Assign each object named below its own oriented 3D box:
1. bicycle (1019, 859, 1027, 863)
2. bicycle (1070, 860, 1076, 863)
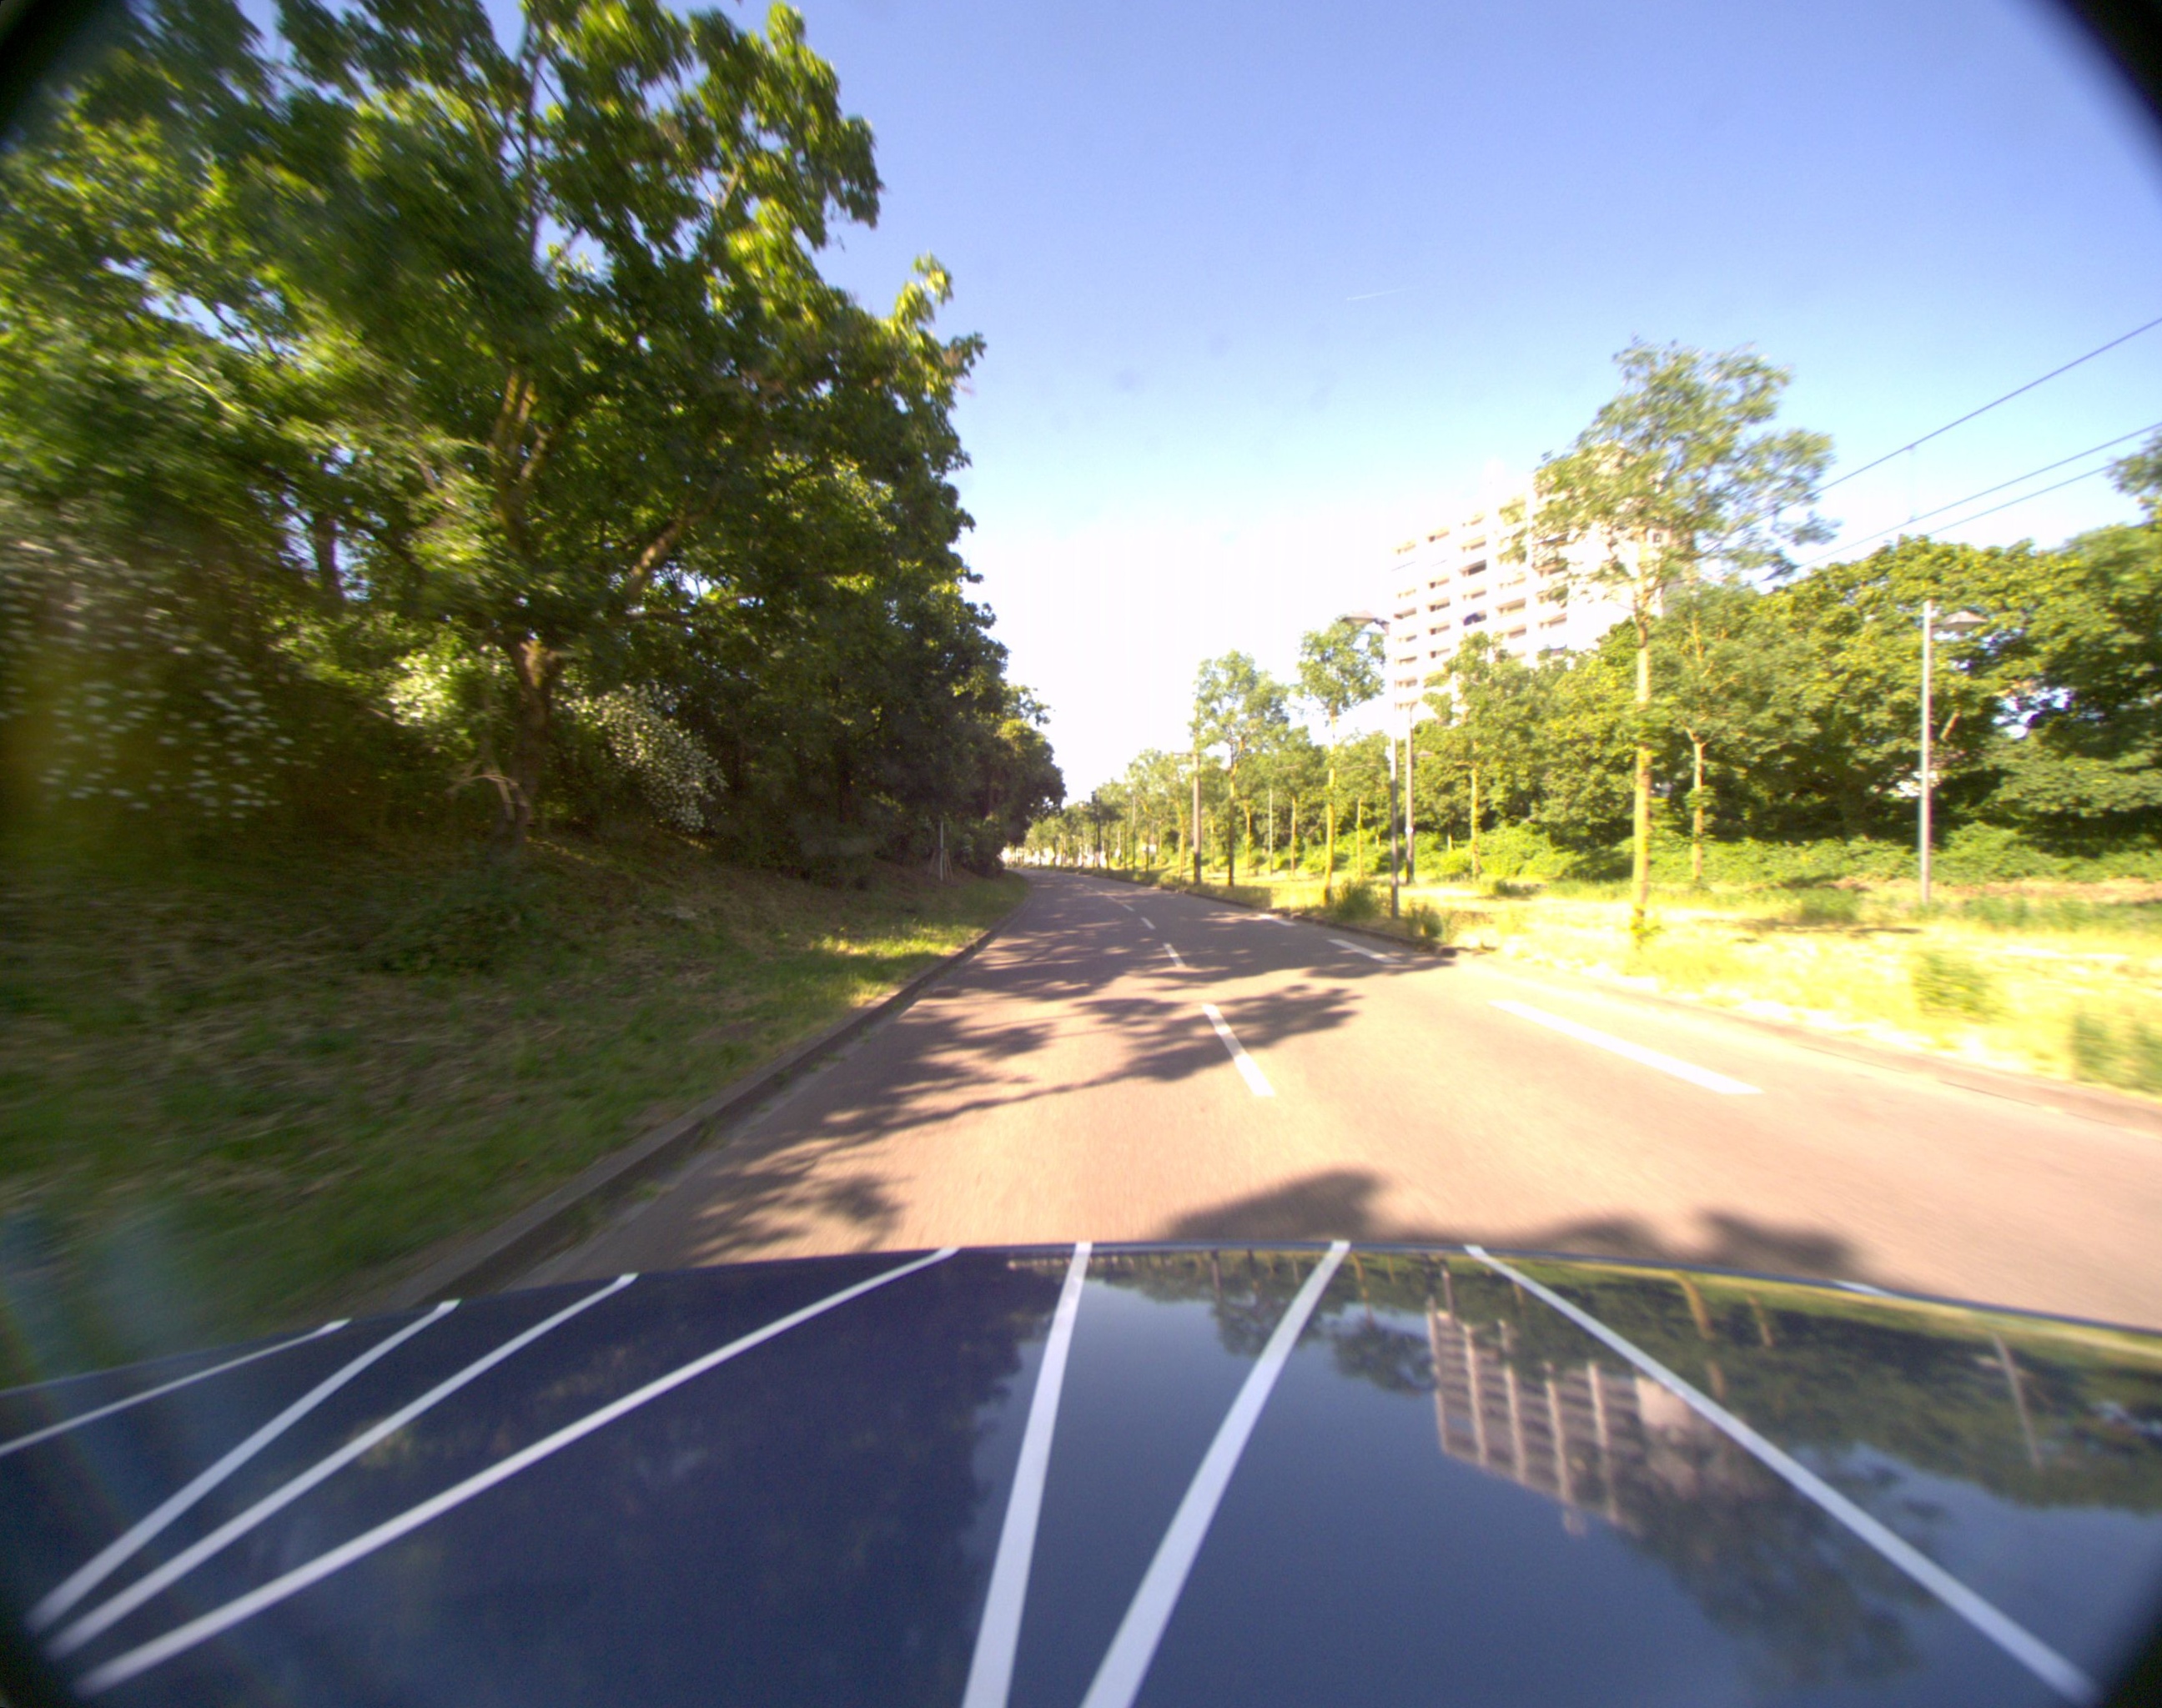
[{"bbox_3d":[-19.798,2.475,257.536,2.584,1.301,0.661,0,0,-26],"label":"bicycle"},{"bbox_3d":[-2.577,2.386,242.253,0.720,1.205,2.547,0,-1,-25],"label":"bicycle"}]
